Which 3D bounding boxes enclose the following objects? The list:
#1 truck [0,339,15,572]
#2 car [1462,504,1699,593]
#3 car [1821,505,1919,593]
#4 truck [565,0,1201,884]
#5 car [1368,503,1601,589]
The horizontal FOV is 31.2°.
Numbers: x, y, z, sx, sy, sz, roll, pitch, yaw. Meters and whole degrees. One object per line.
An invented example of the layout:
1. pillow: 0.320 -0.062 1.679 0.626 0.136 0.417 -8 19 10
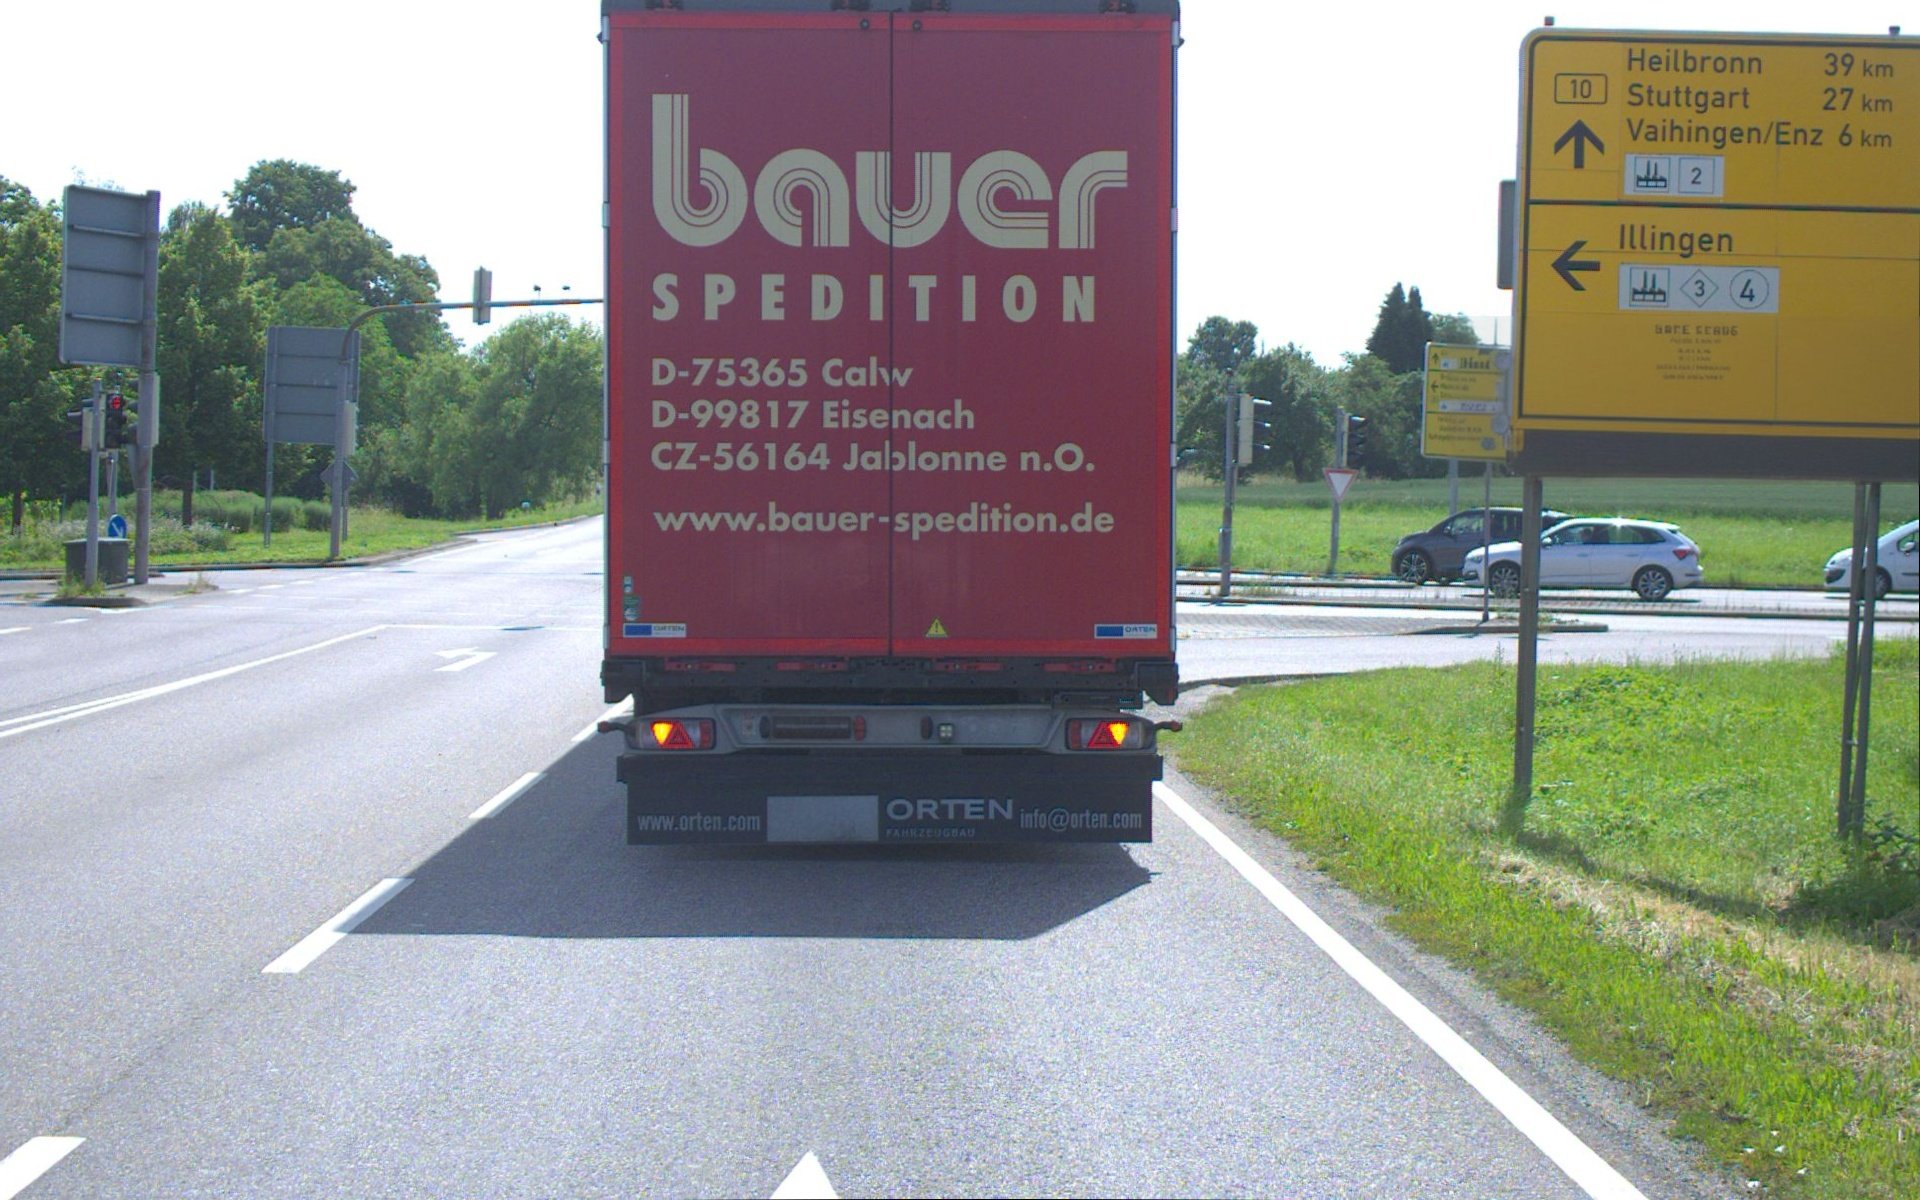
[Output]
1. truck: -19.739 -2.561 59.625 5.830 4.047 2.796 2 2 15
2. car: 11.403 -0.949 63.097 4.102 1.542 1.872 1 0 15
3. car: 18.307 -0.945 64.922 3.828 1.628 1.760 1 1 10
4. truck: -0.646 -0.967 23.361 2.734 3.911 16.628 1 2 -2
5. car: 10.472 -1.085 68.762 4.282 1.650 1.696 1 1 35
